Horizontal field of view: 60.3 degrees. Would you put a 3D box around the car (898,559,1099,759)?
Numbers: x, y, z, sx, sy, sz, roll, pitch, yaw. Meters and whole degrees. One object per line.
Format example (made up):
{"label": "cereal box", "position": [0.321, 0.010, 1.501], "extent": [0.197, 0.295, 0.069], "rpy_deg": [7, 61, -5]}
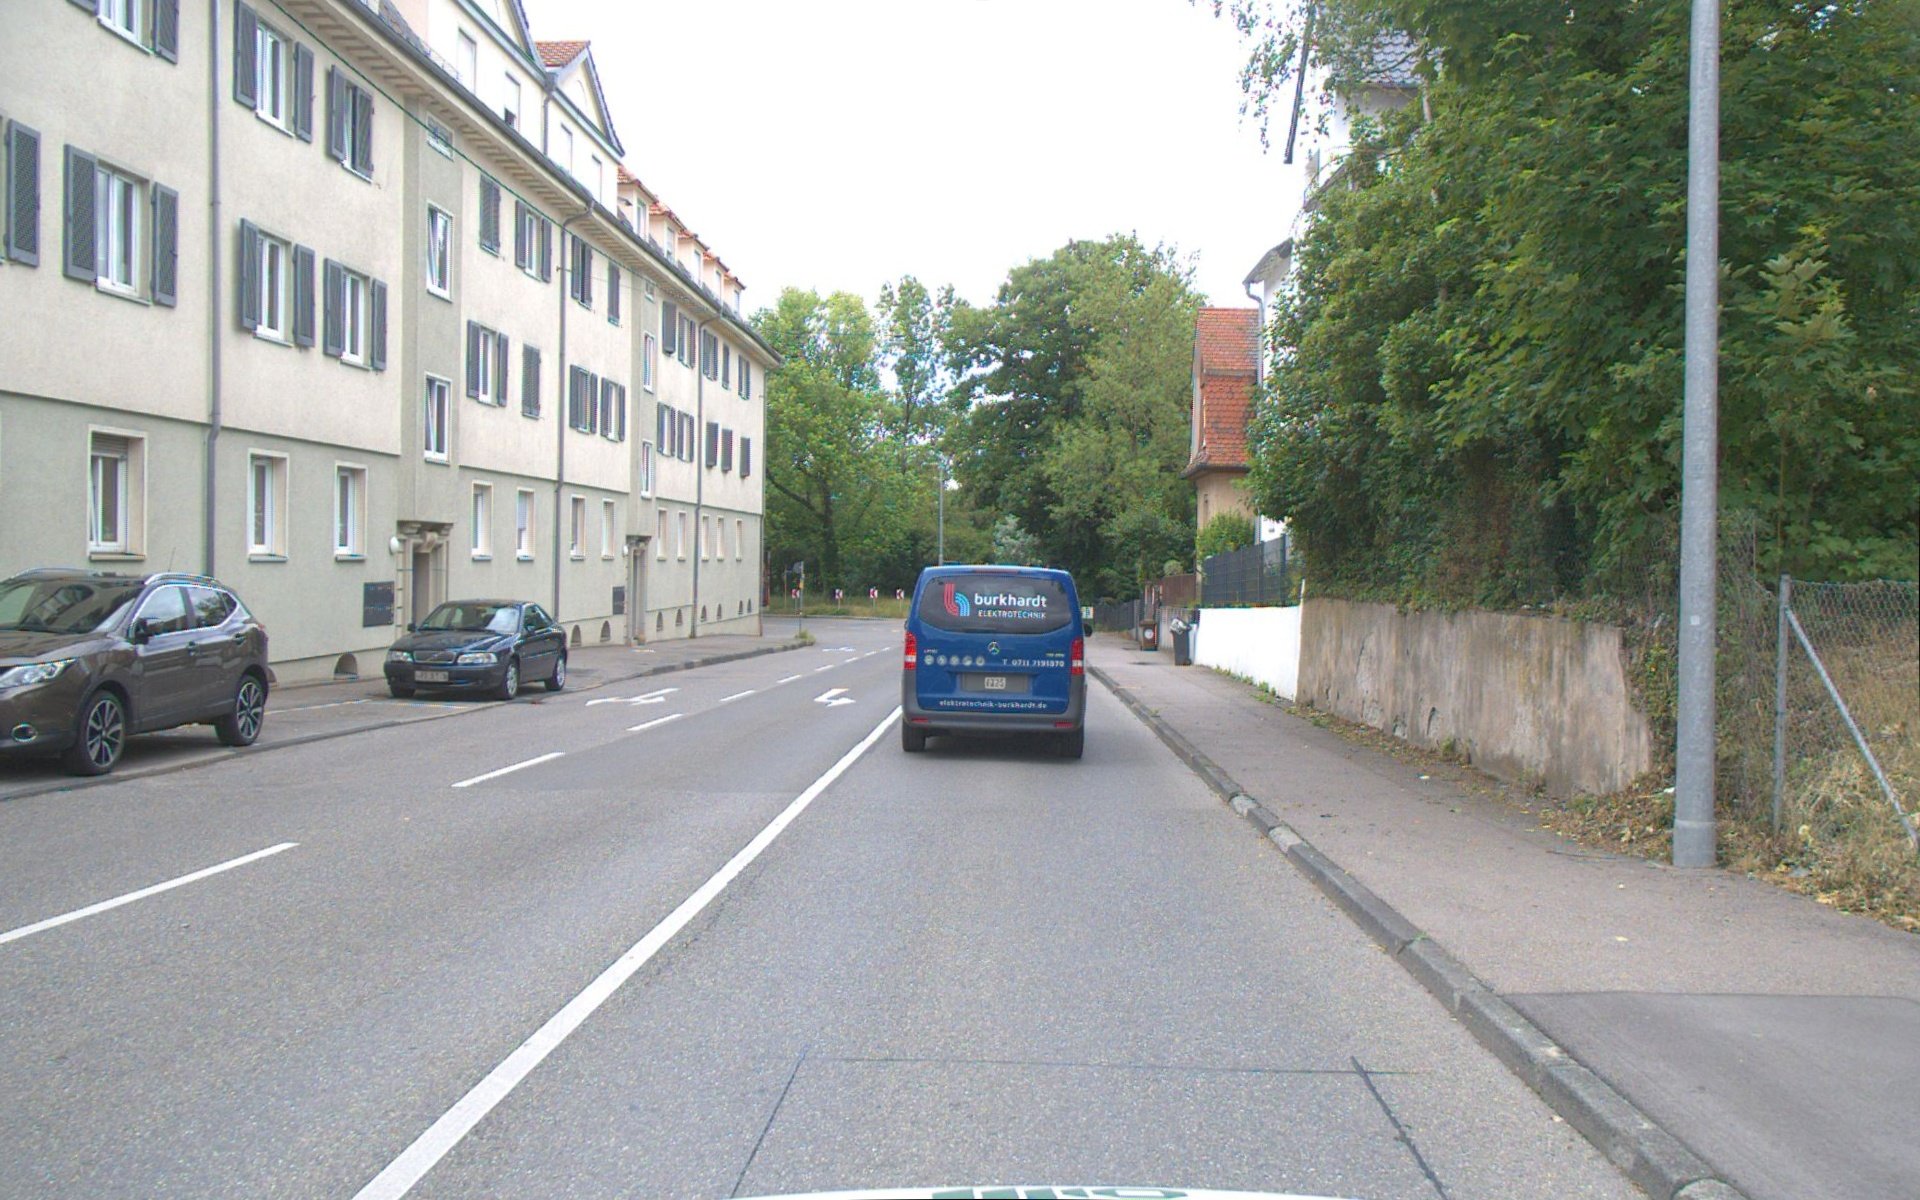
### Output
{"label": "car", "position": [0.359, 0.557, 17.811], "extent": [1.874, 1.870, 4.293], "rpy_deg": [1, 0, 0]}

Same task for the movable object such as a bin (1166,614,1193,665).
{"label": "movable object such as a bin", "position": [5.246, 0.938, 39.499], "extent": [0.517, 1.198, 0.634], "rpy_deg": [-2, 0, 1]}

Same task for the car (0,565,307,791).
{"label": "car", "position": [-7.609, 0.546, 14.555], "extent": [1.784, 1.661, 4.697], "rpy_deg": [2, 0, 0]}

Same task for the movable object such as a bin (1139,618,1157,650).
{"label": "movable object such as a bin", "position": [5.669, 1.023, 49.842], "extent": [0.451, 0.940, 0.566], "rpy_deg": [-2, 0, 1]}

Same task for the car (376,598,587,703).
{"label": "car", "position": [-7.129, 0.686, 25.167], "extent": [1.675, 1.427, 4.847], "rpy_deg": [0, 0, 1]}
